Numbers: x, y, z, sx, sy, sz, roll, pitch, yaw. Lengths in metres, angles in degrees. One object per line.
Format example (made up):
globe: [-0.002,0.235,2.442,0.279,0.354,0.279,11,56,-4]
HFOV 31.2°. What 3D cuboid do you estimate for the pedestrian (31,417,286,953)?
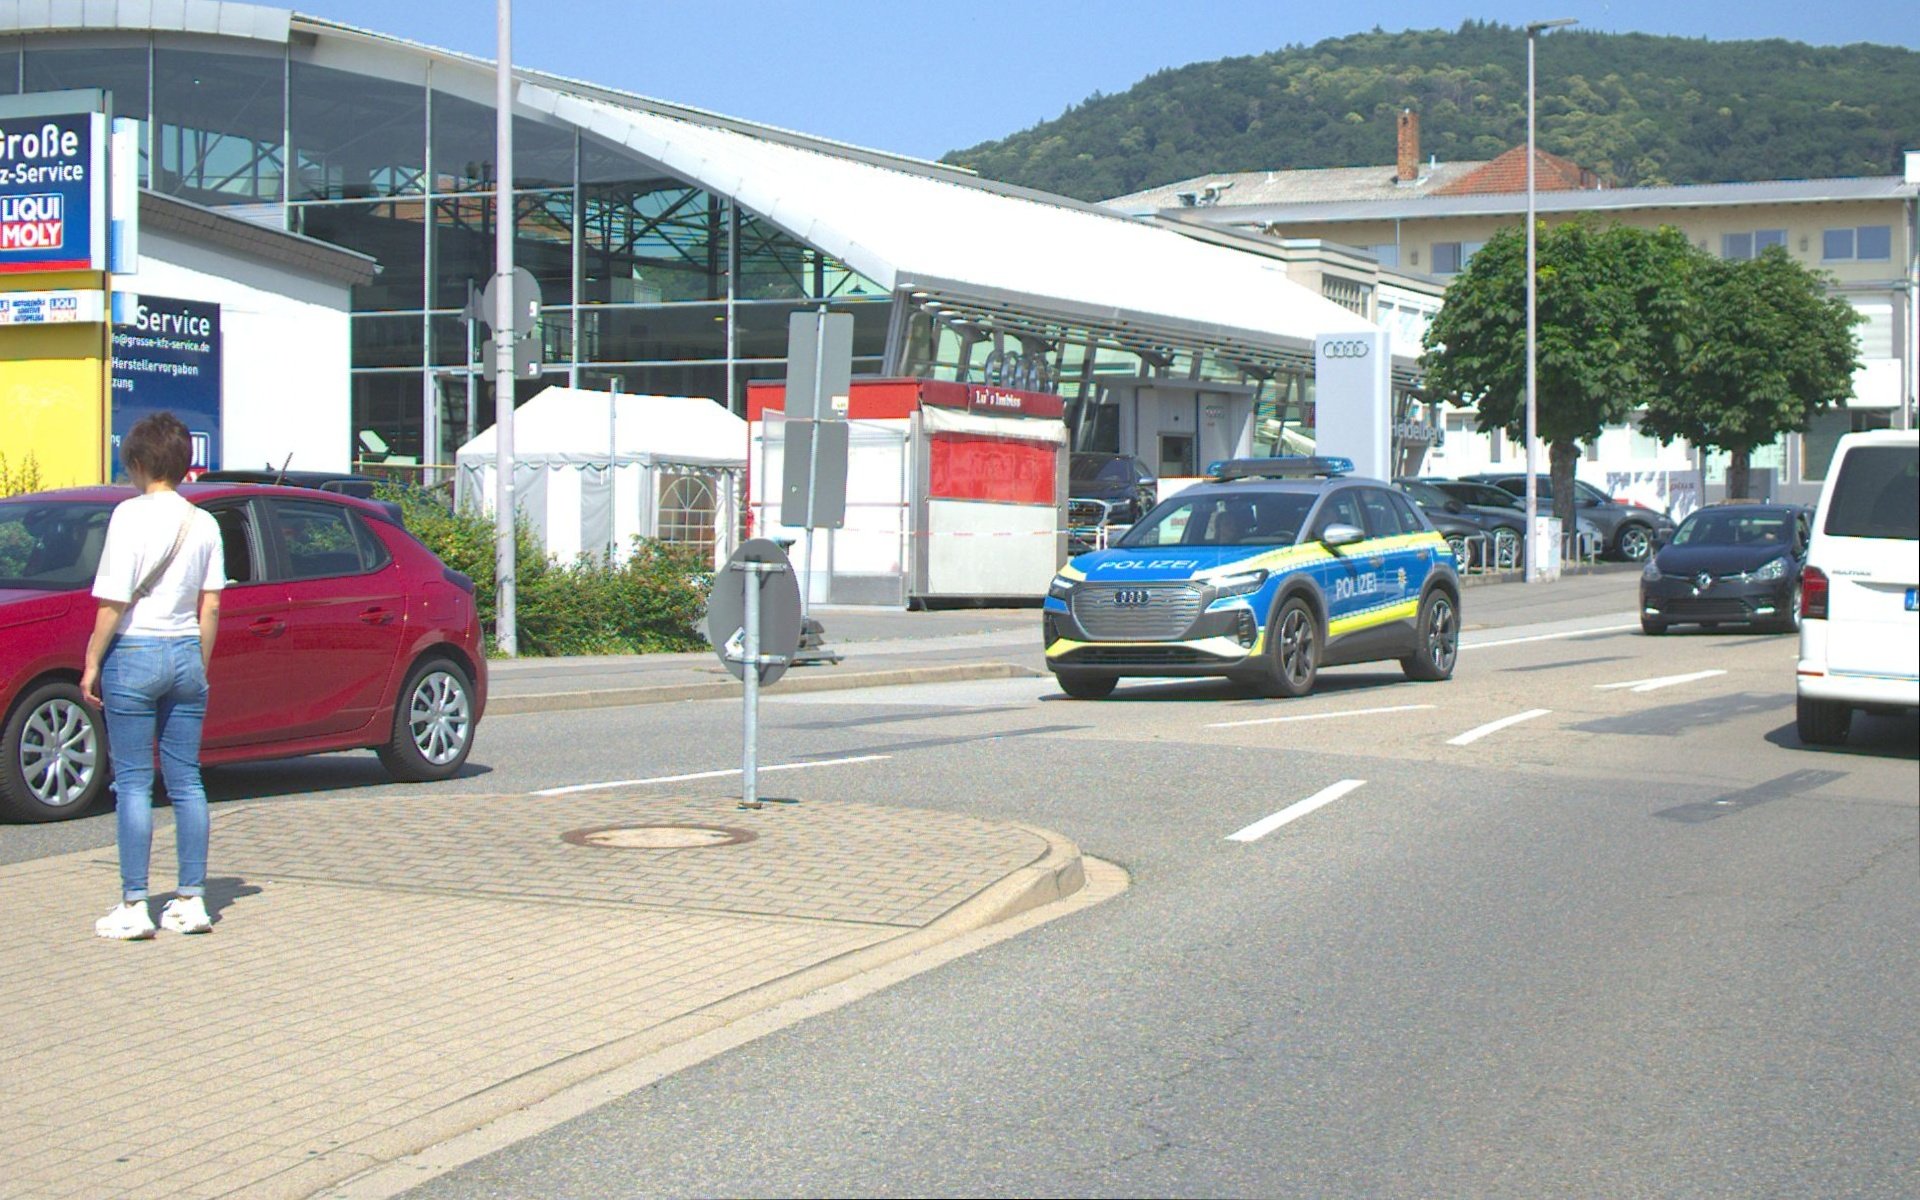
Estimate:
pedestrian: [-2.571,0.252,10.990,0.759,1.650,0.673,0,2,-16]

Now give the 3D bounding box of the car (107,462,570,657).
car: [-5.456,-0.409,30.661,1.997,1.612,3.994,1,2,28]

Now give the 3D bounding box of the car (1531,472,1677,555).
car: [12.685,-1.713,67.873,1.745,1.579,3.662,0,2,-8]

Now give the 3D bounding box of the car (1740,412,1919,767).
car: [6.590,-0.135,22.100,2.165,2.006,5.013,4,4,22]

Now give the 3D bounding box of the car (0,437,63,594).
car: [-11.380,-0.798,33.840,1.884,1.583,4.919,-1,1,33]

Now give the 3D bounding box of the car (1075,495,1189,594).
car: [2.866,-0.941,56.824,1.745,1.579,3.661,0,2,5]

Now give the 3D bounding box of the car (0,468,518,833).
car: [-3.995,0.153,15.528,1.844,1.459,4.137,0,2,29]

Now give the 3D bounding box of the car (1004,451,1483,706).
car: [2.249,-0.230,26.019,1.912,1.754,4.444,1,2,30]

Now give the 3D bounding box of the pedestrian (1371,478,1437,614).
pedestrian: [5.902,-0.720,45.640,0.760,1.782,0.927,1,2,14]

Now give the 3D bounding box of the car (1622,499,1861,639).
car: [8.868,-0.393,38.779,1.843,1.459,3.995,0,2,25]
